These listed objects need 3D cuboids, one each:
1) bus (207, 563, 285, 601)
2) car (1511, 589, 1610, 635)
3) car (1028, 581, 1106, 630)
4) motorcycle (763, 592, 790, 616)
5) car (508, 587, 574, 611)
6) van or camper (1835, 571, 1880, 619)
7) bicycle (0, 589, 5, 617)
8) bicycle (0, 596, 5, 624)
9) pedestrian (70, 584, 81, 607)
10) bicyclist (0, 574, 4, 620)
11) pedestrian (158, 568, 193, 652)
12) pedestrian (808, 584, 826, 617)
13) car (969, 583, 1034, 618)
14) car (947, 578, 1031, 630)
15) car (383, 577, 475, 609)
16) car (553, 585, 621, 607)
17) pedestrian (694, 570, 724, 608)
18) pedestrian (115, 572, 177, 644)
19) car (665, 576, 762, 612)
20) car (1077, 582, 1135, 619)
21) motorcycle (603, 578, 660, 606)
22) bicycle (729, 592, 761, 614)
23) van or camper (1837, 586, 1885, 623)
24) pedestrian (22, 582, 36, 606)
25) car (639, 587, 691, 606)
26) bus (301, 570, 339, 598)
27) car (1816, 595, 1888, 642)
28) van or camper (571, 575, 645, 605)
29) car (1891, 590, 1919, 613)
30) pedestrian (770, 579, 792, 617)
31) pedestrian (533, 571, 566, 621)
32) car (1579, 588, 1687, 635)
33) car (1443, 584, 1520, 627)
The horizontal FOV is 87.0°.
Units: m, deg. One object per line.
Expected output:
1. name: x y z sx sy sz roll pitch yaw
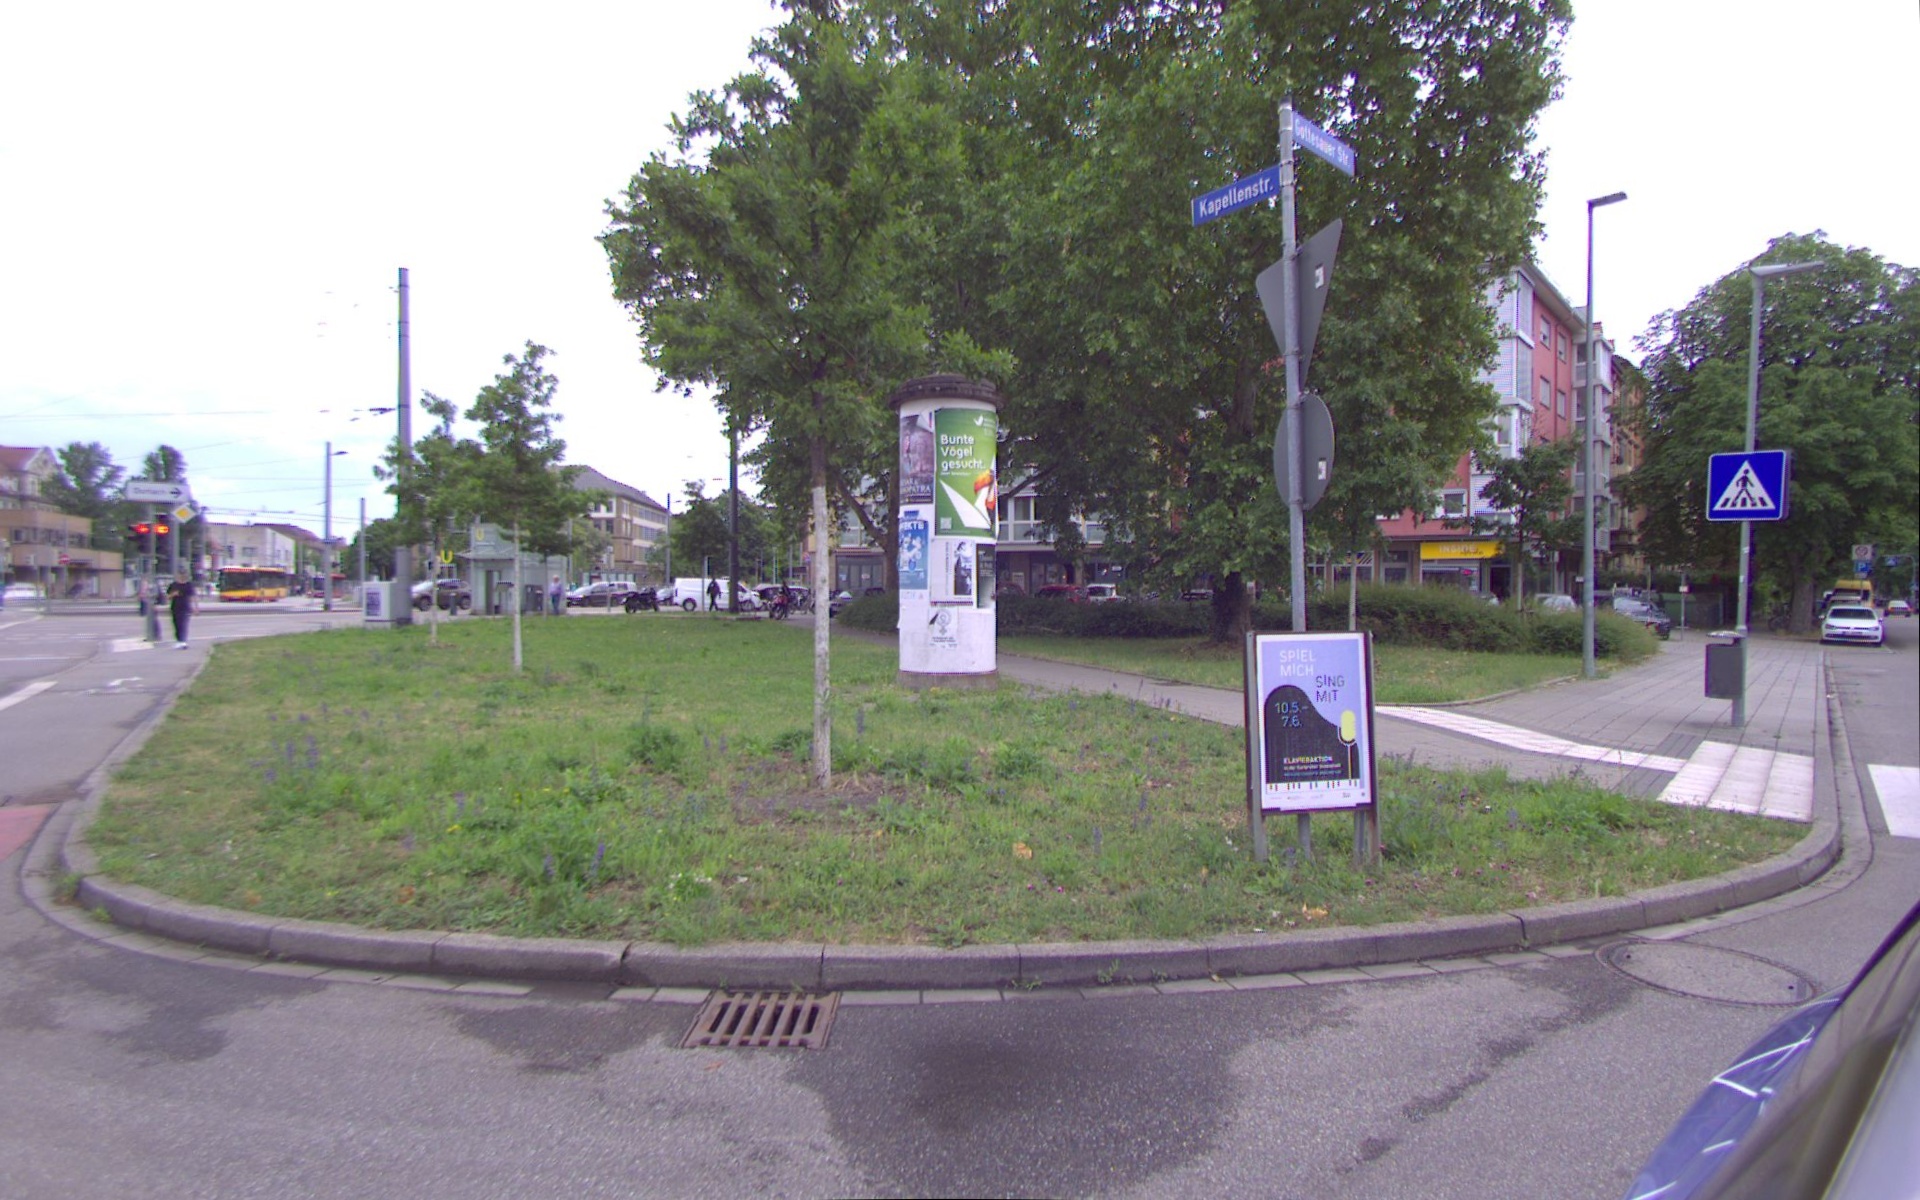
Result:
1. bus: -62.382 -1.545 88.714 2.908 3.162 11.562 0 1 -21
2. car: 22.747 0.406 38.516 1.832 1.567 4.461 0 2 11
3. car: 3.788 0.154 35.232 1.836 1.567 4.450 0 0 18
4. motorcycle: -7.767 0.165 42.862 0.856 1.010 1.016 0 0 -26
5. car: -27.743 -0.078 67.081 1.755 1.482 3.969 -1 0 23
6. van or camper: 54.605 -0.296 61.587 1.992 2.807 3.940 0 0 41
7. bicycle: -41.721 0.102 43.175 2.285 1.193 0.884 1 0 33
8. bicycle: -39.409 0.404 41.059 0.853 1.118 2.299 0 0 -40
9. pedestrian: -78.191 -0.404 89.469 0.611 1.942 0.711 0 0 -33
10. bicyclist: -39.487 -0.116 41.133 0.859 1.874 1.046 -1 1 -41
11. pedestrian: -17.913 0.206 23.123 0.526 1.867 0.987 0 0 -31
12. pedestrian: -7.282 0.023 51.572 0.699 1.659 0.726 0 0 -29
13. car: 1.964 -0.002 46.214 1.836 1.508 4.450 0 0 18
14. car: 1.125 0.111 36.117 1.836 1.744 4.450 0 0 18
15. car: -28.645 -0.381 54.704 1.786 1.660 4.191 0 0 27
16. car: -24.384 -0.292 66.378 1.680 1.413 4.357 0 1 24
17. pedestrian: -12.279 -0.510 49.453 1.075 1.820 0.939 -1 -1 23
18. pedestrian: -22.095 0.210 27.494 0.724 1.931 1.100 0 -1 11
19. car: -14.920 -0.373 61.270 5.617 2.039 2.032 -1 0 -16
20. car: 6.531 -0.005 44.859 1.836 1.567 4.450 0 0 18
21. motorcycle: -14.043 -0.342 43.311 0.761 1.183 2.358 0 0 33
22. bicycle: -9.514 0.124 44.791 1.251 0.929 0.590 0 0 24
23. van or camper: 51.486 0.235 57.853 1.992 2.039 3.940 1 0 41
24. pedestrian: -76.549 -0.486 83.213 0.696 1.942 0.624 0 0 -29
25. car: -23.039 -0.274 79.041 1.756 1.482 3.966 -1 0 25
26. bus: -81.157 -2.004 128.424 2.607 3.324 11.014 0 1 -24
27. car: 33.182 0.645 37.743 1.853 1.567 4.411 2 2 40
28. van or camper: -25.481 -0.697 73.457 2.169 2.039 5.117 -1 0 23
29. car: 83.583 0.120 89.034 2.013 2.011 4.717 -1 0 38
30. pedestrian: -7.967 -0.086 45.055 0.630 1.659 0.866 0 0 21
31. pedestrian: -16.453 -0.163 40.571 0.874 1.955 1.015 0 0 6
32. car: 24.733 0.376 37.400 1.833 1.567 4.459 0 2 13
33. car: 20.120 0.179 39.226 1.836 1.567 4.452 0 0 17
